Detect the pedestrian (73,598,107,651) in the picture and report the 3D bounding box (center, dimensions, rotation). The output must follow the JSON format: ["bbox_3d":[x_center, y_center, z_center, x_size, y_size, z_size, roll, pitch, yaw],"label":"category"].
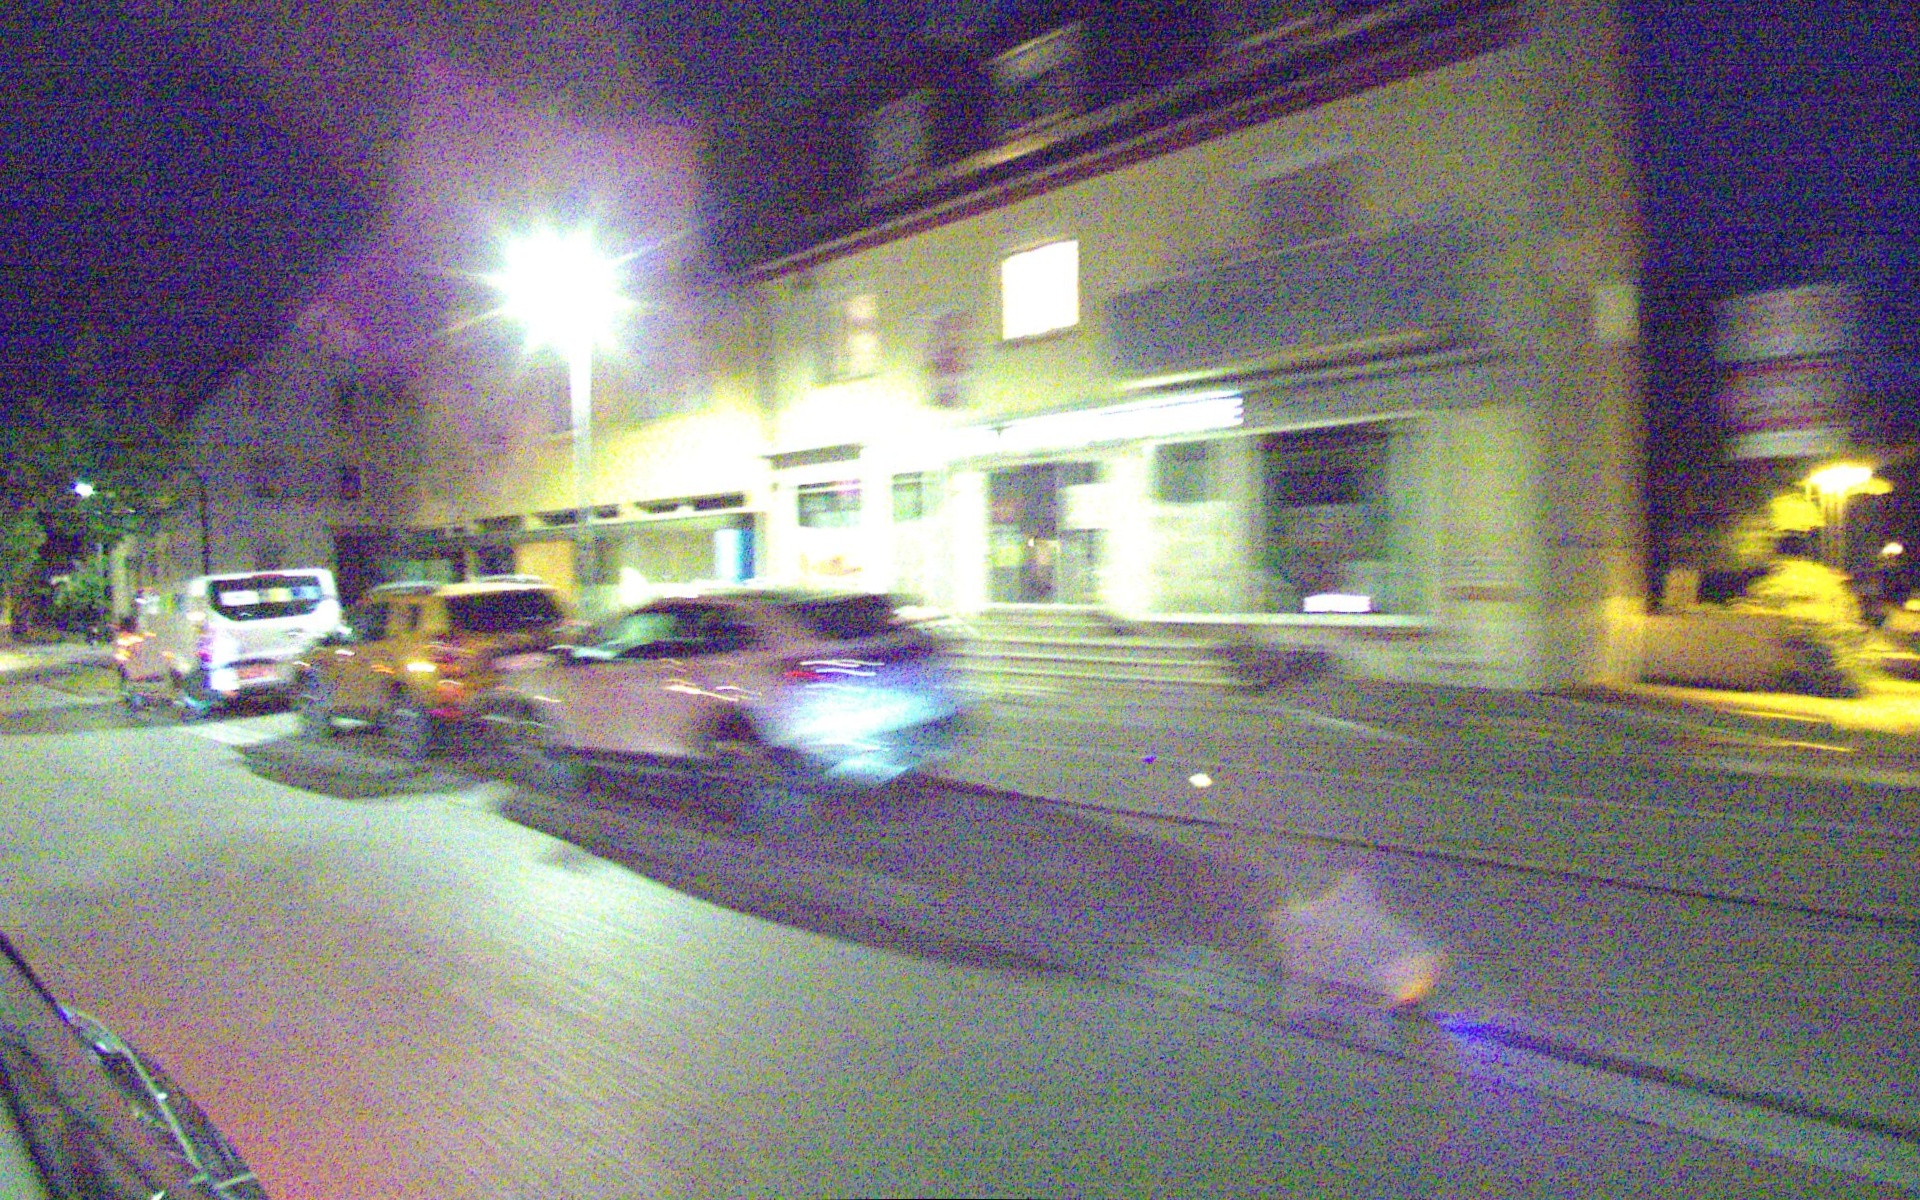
[{"bbox_3d":[-32.277,0.906,37.536,0.829,1.917,0.737,-1,3,40],"label":"pedestrian"}]

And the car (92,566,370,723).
[{"bbox_3d":[-11.088,0.591,15.262,4.882,1.961,2.096,-1,2,39],"label":"car"}]

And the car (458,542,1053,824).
[{"bbox_3d":[-1.746,0.446,7.818,4.471,1.559,2.096,-1,2,39],"label":"car"}]

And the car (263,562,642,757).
[{"bbox_3d":[-5.622,0.536,11.039,4.164,1.683,2.096,-1,2,39],"label":"car"}]
